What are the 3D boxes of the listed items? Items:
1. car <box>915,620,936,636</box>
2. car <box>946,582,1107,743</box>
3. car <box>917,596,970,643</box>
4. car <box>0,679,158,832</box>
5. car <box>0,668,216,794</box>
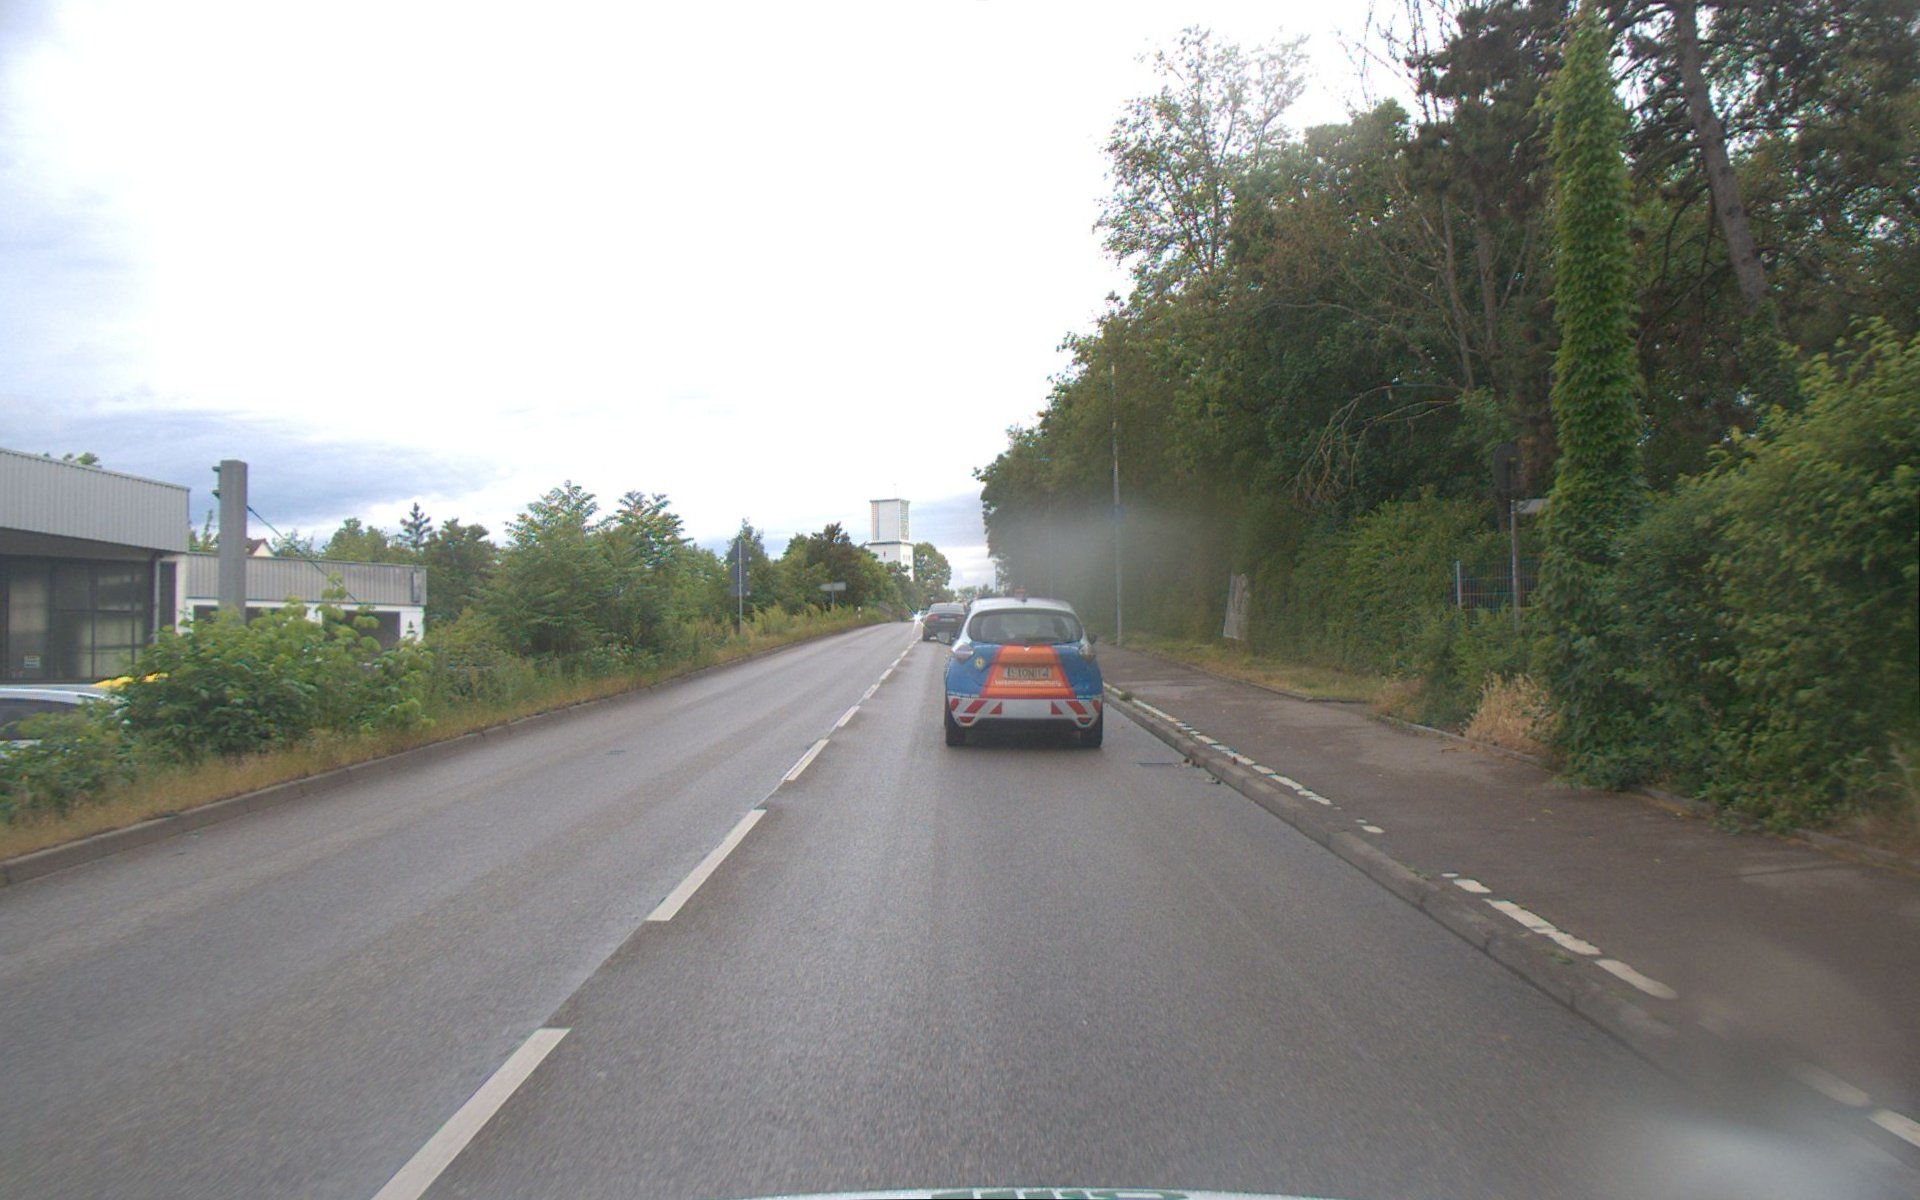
[{"bbox_3d":[-3.653,2.938,173.874,1.830,1.613,4.416,1,0,4],"label":"car"},{"bbox_3d":[0.674,0.683,18.631,1.623,1.621,3.567,-1,-1,0],"label":"car"},{"bbox_3d":[-0.637,0.716,61.087,1.766,1.618,3.561,-2,-1,-3],"label":"car"},{"bbox_3d":[-10.826,1.625,17.066,4.143,1.392,1.873,-2,0,-4],"label":"car"},{"bbox_3d":[-11.323,1.574,19.805,3.982,1.313,1.803,-2,0,-4],"label":"car"}]
